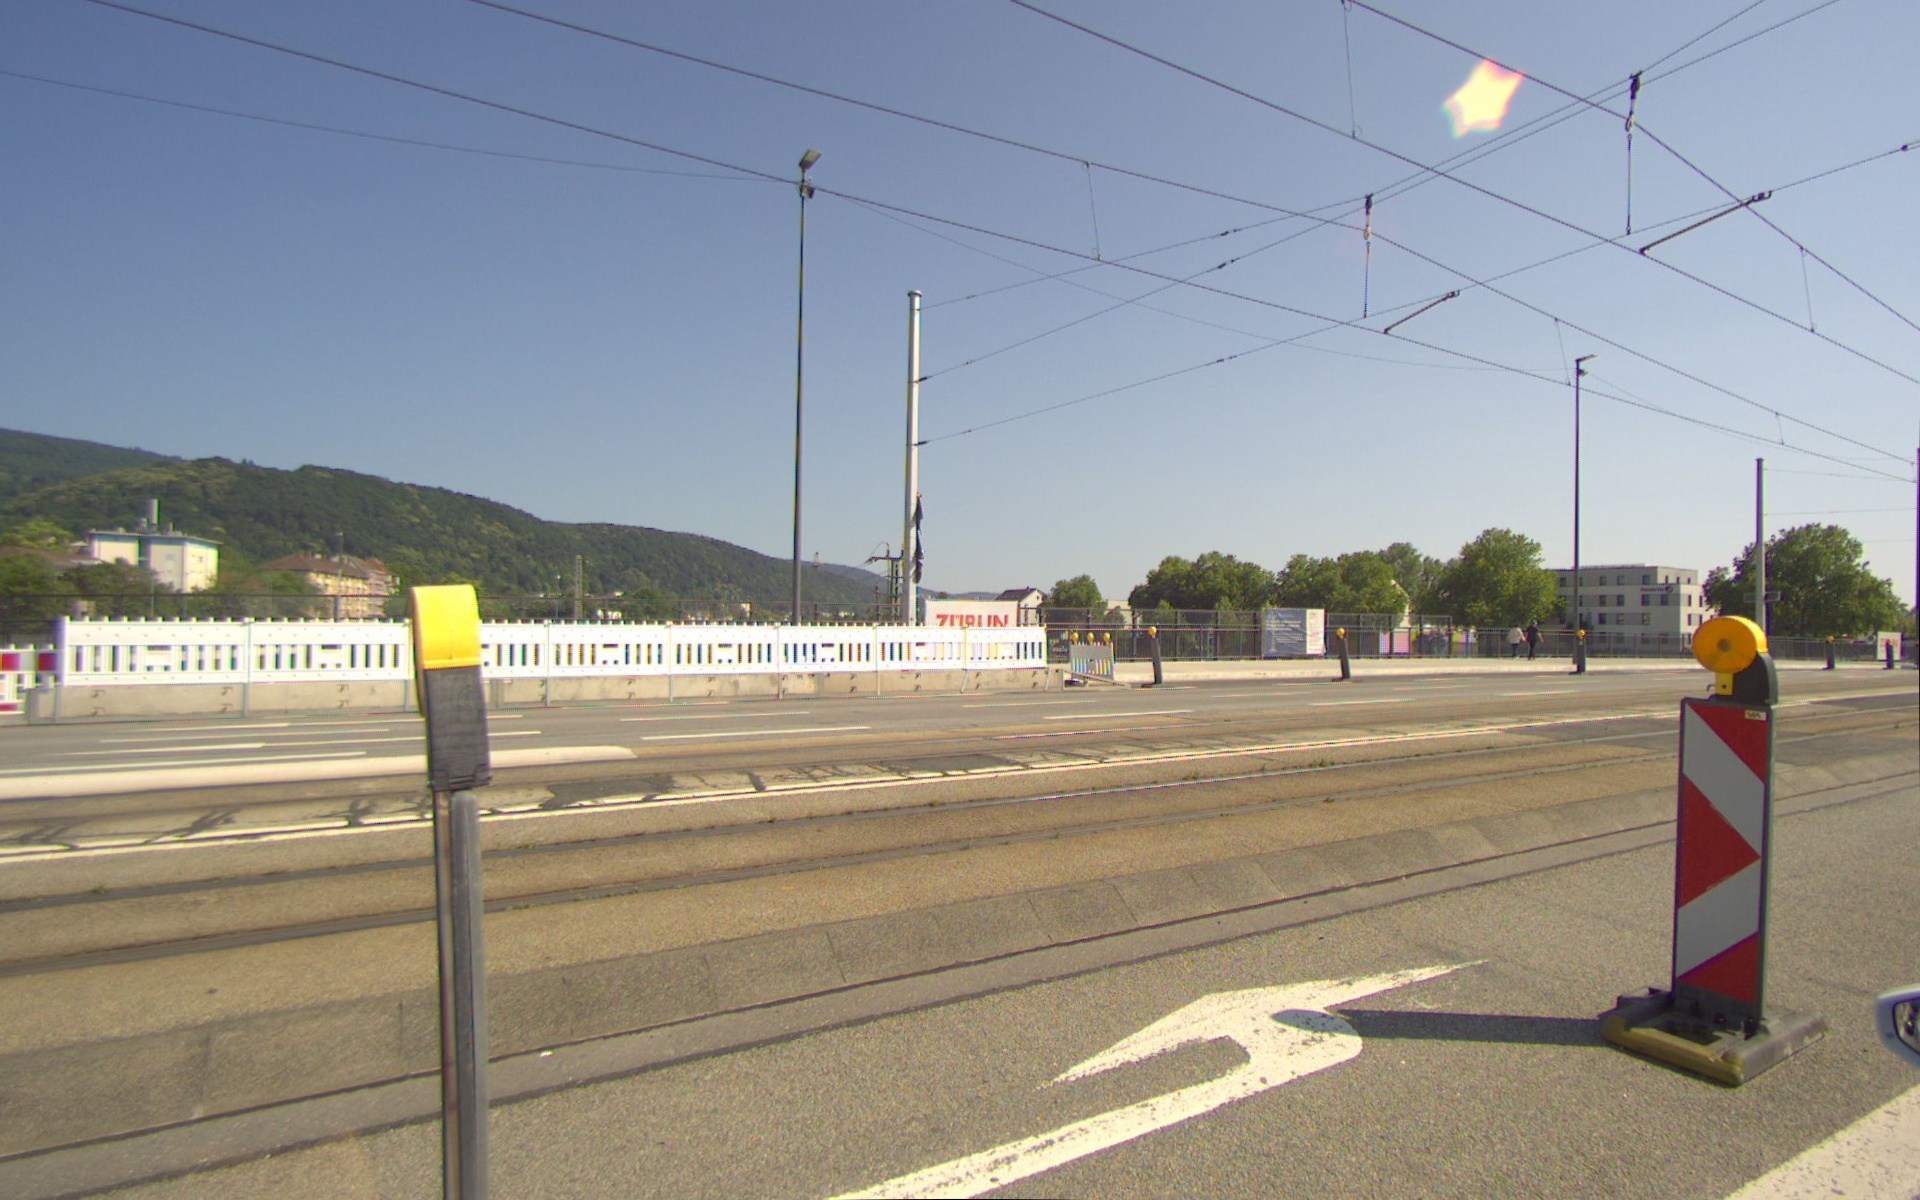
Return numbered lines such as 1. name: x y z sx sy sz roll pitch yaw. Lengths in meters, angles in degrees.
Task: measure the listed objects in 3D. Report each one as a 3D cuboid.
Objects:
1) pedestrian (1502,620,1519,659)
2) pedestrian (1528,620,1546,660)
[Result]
1. pedestrian: 24.635 1.752 44.948 0.468 1.717 0.493 2 0 -30
2. pedestrian: 25.265 1.739 44.007 0.468 1.717 0.493 2 0 -30
